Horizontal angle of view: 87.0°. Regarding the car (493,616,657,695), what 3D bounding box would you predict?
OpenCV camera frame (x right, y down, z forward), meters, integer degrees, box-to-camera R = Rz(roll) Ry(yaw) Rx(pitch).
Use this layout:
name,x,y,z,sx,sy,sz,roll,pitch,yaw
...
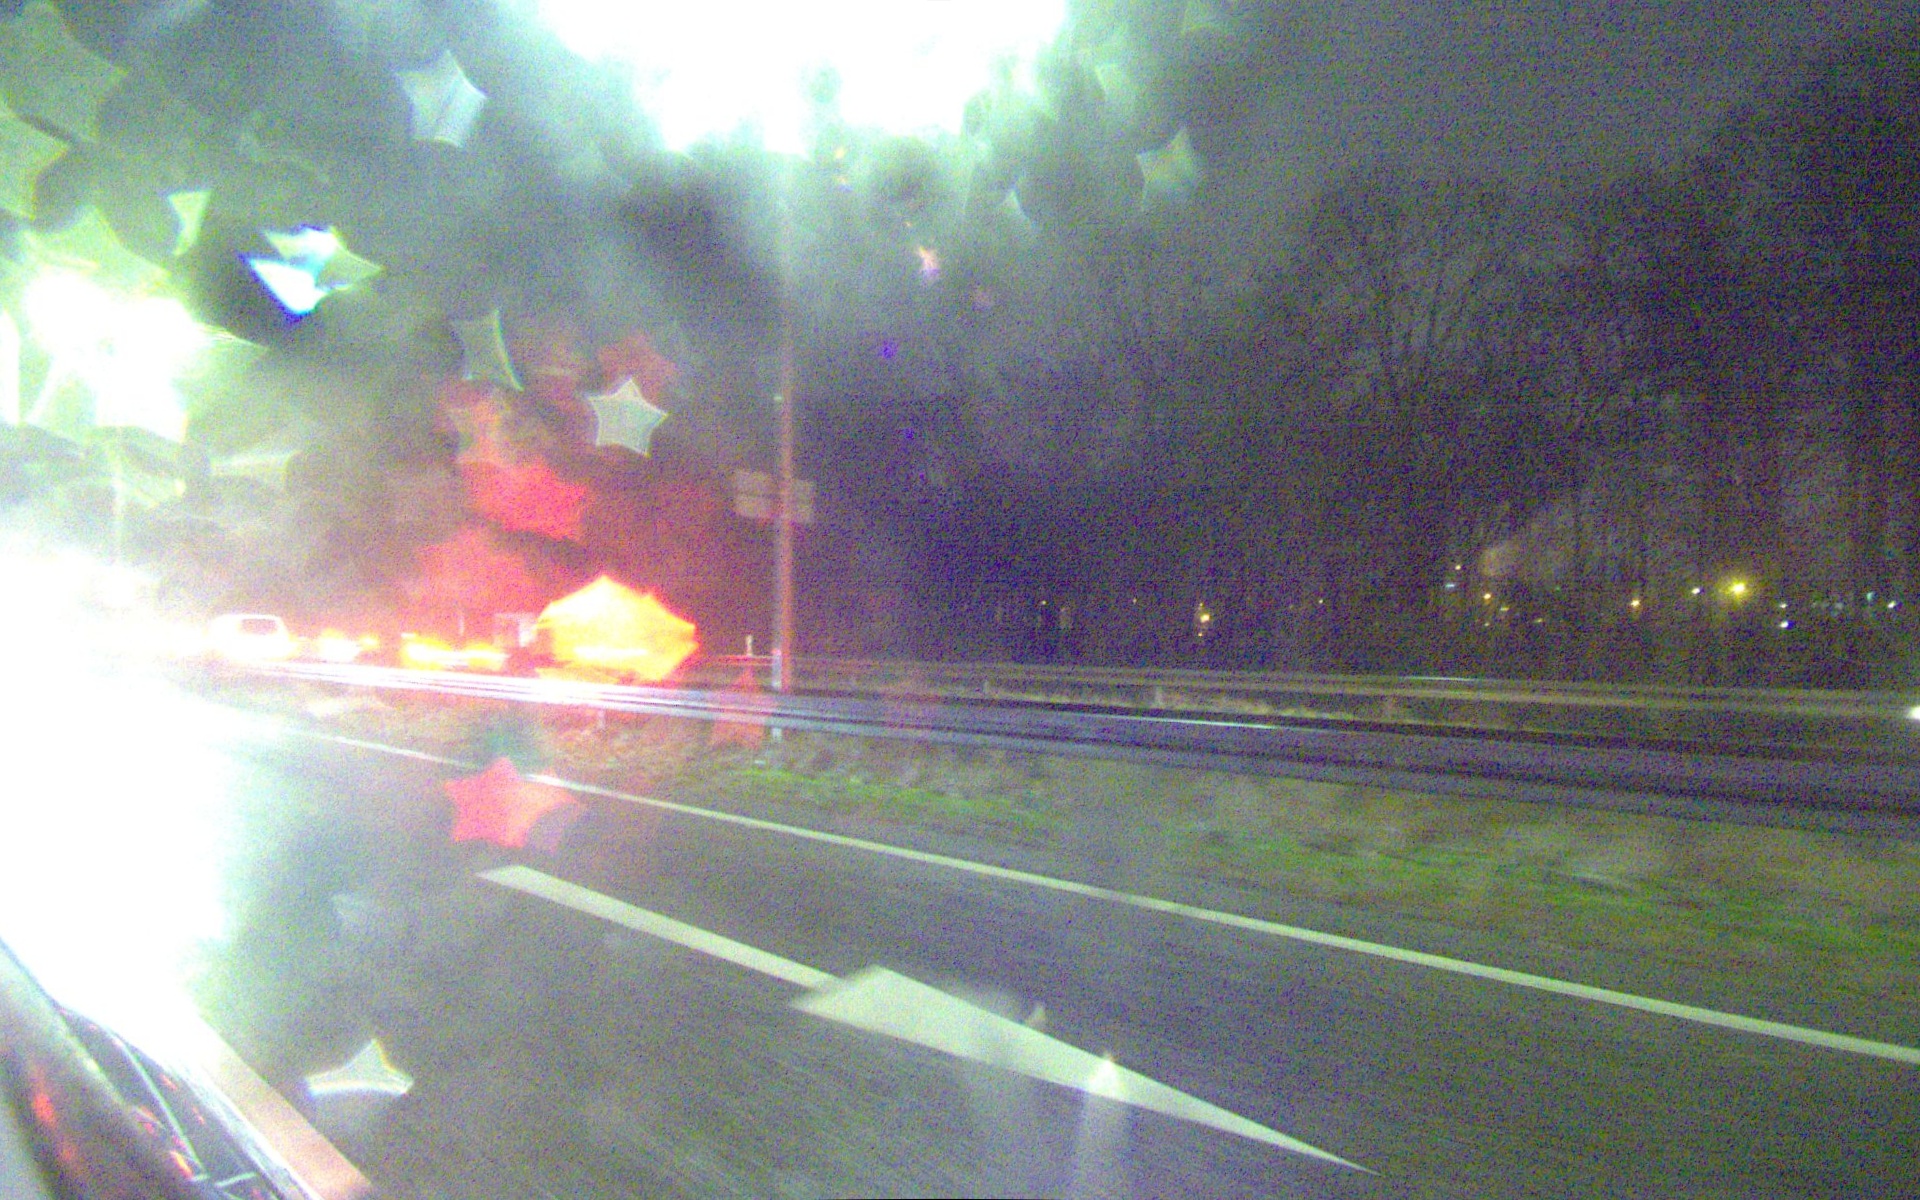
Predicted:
name,x,y,z,sx,sy,sz,roll,pitch,yaw
car,-10.226,1.379,26.750,4.701,1.787,1.974,0,1,39

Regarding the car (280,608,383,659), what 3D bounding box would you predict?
name,x,y,z,sx,sy,sz,roll,pitch,yaw
car,-24.425,1.254,39.300,4.701,1.787,1.974,0,1,39

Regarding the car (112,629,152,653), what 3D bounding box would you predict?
name,x,y,z,sx,sy,sz,roll,pitch,yaw
car,-58.950,2.892,72.013,3.832,1.563,1.584,0,1,41

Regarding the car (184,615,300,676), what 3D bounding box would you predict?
name,x,y,z,sx,sy,sz,roll,pitch,yaw
car,-24.068,1.446,33.863,4.701,1.787,1.974,0,1,39

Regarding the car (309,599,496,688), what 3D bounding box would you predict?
name,x,y,z,sx,sy,sz,roll,pitch,yaw
car,-12.797,0.892,23.118,4.701,1.787,2.144,0,1,39

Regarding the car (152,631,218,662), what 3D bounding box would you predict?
name,x,y,z,sx,sy,sz,roll,pitch,yaw
car,-44.665,2.655,58.290,4.893,1.513,2.003,0,1,40
